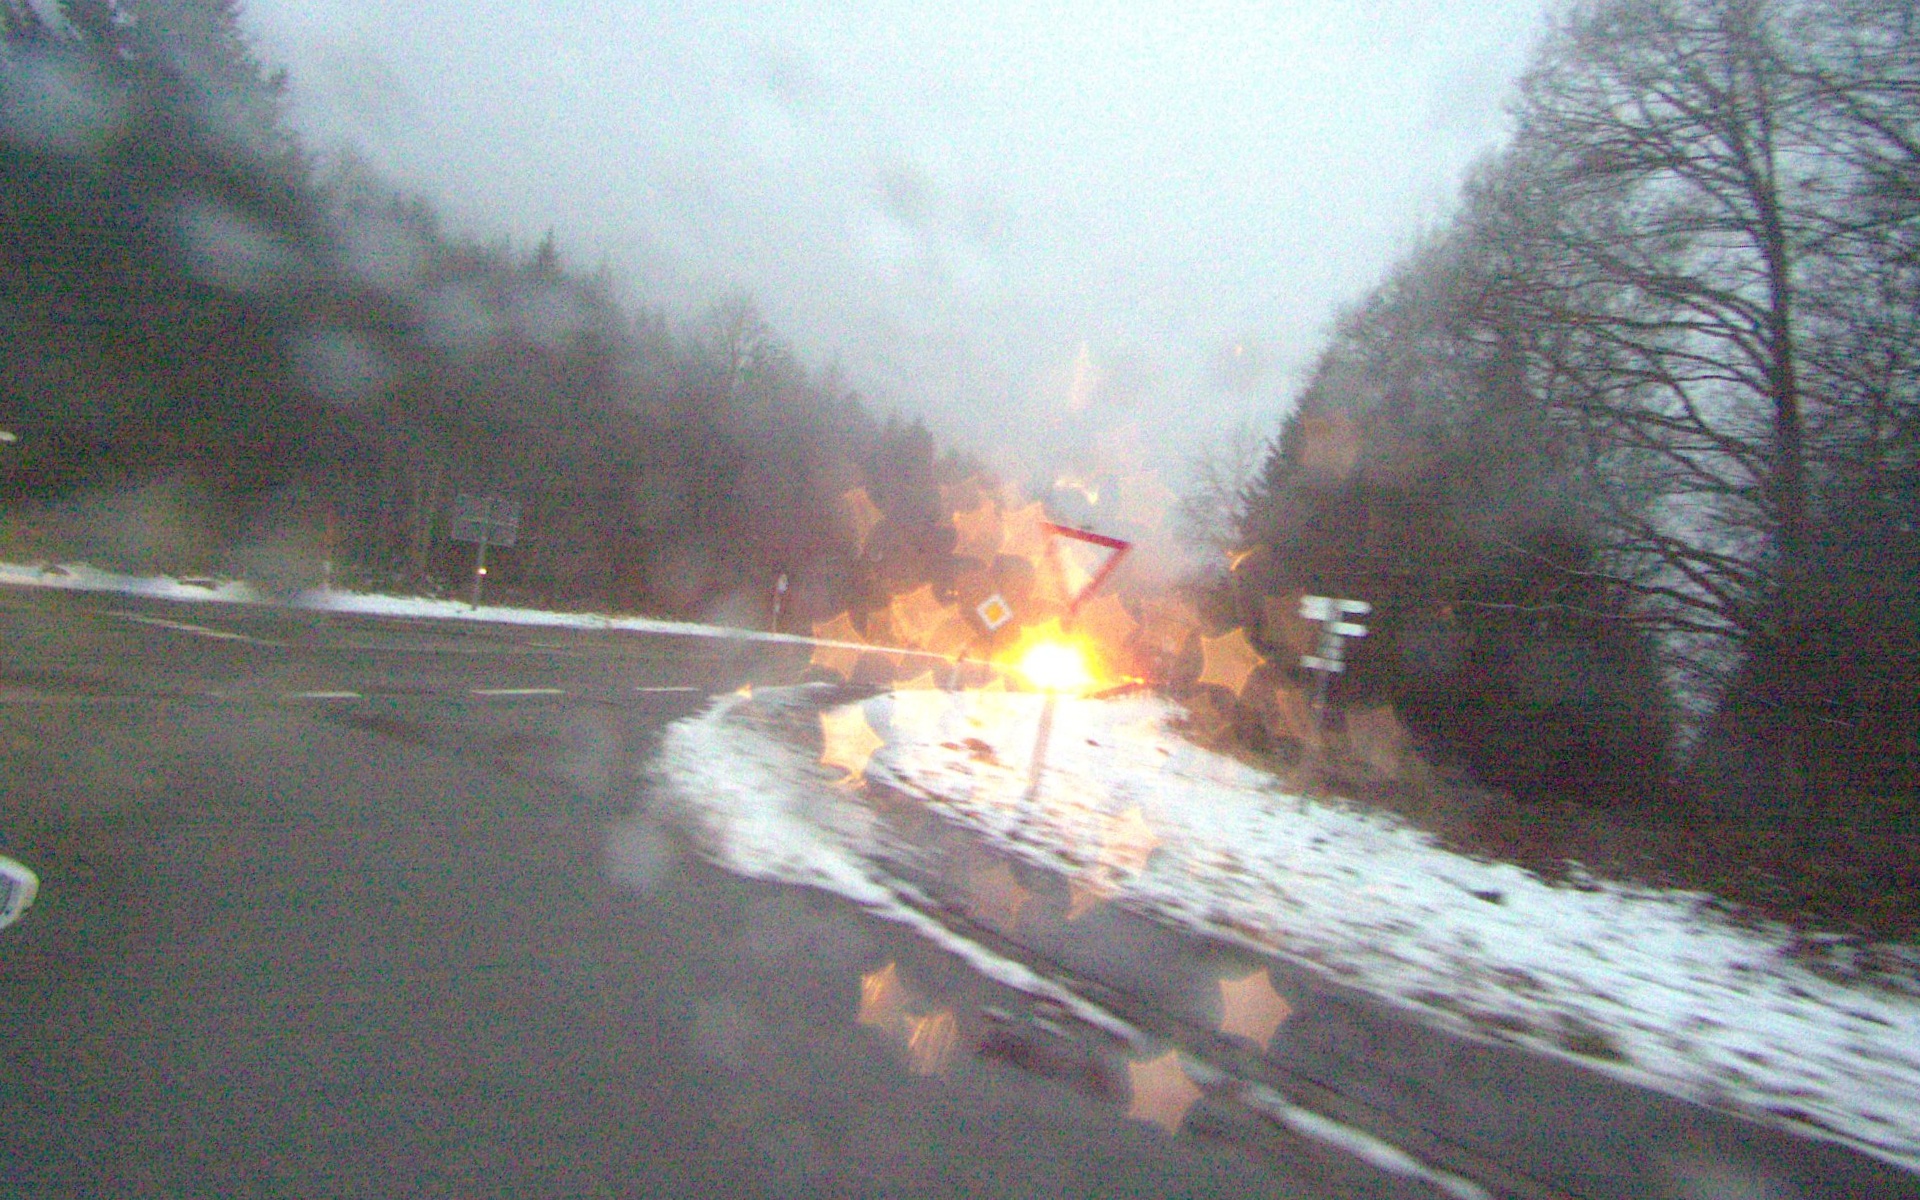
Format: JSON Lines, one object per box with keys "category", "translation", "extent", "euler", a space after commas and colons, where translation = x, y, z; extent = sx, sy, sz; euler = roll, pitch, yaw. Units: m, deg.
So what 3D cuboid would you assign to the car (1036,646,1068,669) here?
{"category": "car", "translation": [6.746, 4.243, 73.651], "extent": [1.547, 1.469, 3.416], "euler": [7, -2, 17]}
